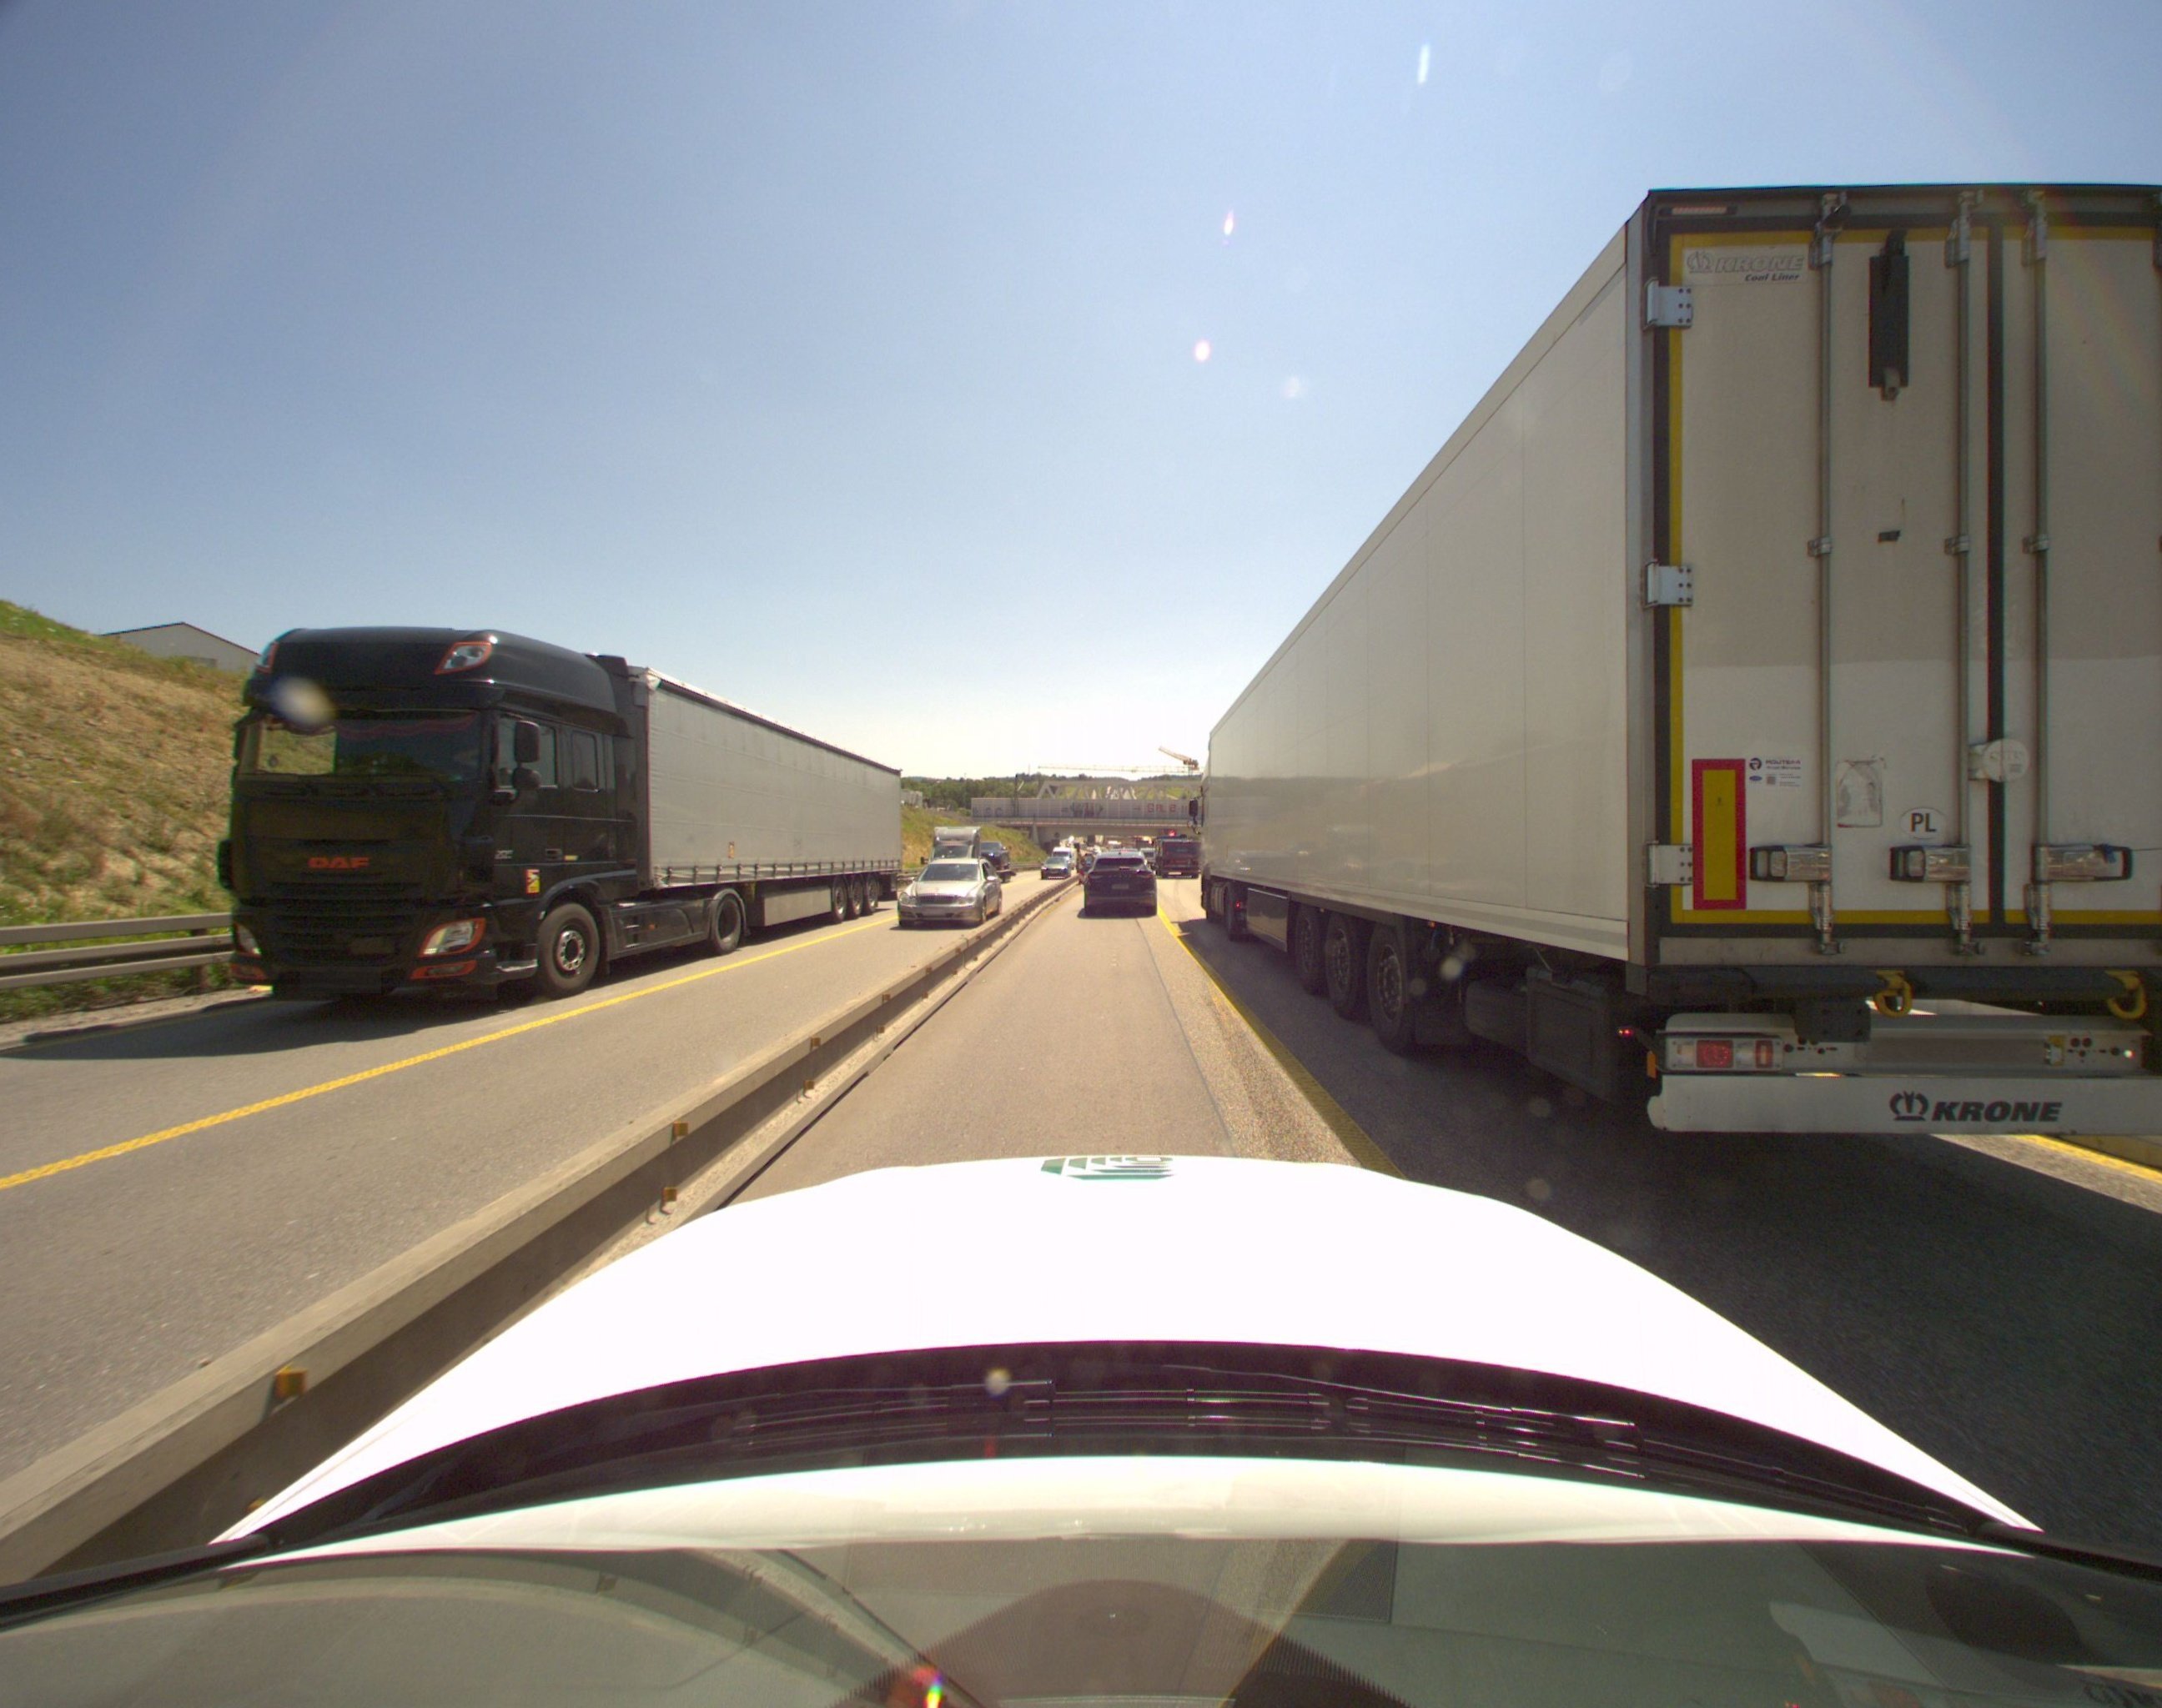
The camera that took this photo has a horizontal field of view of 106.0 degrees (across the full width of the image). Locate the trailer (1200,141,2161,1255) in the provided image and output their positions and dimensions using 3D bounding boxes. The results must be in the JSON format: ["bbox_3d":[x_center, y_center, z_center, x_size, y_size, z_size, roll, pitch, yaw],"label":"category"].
[{"bbox_3d":[3.642,-0.560,10.029,2.791,4.058,14.123,-1,0,2],"label":"trailer"}]

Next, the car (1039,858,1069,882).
[{"bbox_3d":[-1.754,1.025,53.808,1.659,1.428,4.003,-1,0,3],"label":"car"}]

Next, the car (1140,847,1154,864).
[{"bbox_3d":[9.467,0.227,116.853,1.656,2.269,3.796,1,0,0],"label":"car"}]

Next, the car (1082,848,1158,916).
[{"bbox_3d":[0.974,0.680,21.120,1.794,1.620,3.298,-1,0,2],"label":"car"}]

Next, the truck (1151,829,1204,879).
[{"bbox_3d":[6.669,-0.016,58.327,2.803,3.135,12.845,0,0,2],"label":"truck"}]

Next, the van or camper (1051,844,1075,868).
[{"bbox_3d":[-1.880,0.262,87.177,2.206,2.481,4.755,0,0,3],"label":"van or camper"}]

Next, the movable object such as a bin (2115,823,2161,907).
[{"bbox_3d":[38.877,0.388,24.877,2.876,2.909,9.485,0,0,2],"label":"movable object such as a bin"}]

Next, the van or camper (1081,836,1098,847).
[{"bbox_3d":[2.692,-4.121,261.661,3.942,3.419,8.381,0,0,-9],"label":"van or camper"}]

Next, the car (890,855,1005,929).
[{"bbox_3d":[-2.931,0.780,18.745,1.819,1.487,4.197,-1,0,2],"label":"car"}]

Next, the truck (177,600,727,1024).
[{"bbox_3d":[-6.860,-0.387,9.967,2.757,3.884,4.966,0,0,2],"label":"truck"}]

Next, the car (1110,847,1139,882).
[{"bbox_3d":[2.374,0.556,44.458,1.468,1.795,3.300,1,0,3],"label":"car"}]

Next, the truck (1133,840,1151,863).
[{"bbox_3d":[11.750,-0.467,157.439,3.163,4.318,9.264,-1,0,3],"label":"truck"}]

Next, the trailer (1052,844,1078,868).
[{"bbox_3d":[-1.668,0.238,90.688,2.206,2.481,8.535,0,0,4],"label":"trailer"}]

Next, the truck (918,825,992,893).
[{"bbox_3d":[-5.627,0.226,37.319,2.259,2.882,5.854,0,0,2],"label":"truck"}]

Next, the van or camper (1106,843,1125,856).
[{"bbox_3d":[9.516,-1.288,226.778,3.942,3.419,8.381,0,0,-9],"label":"van or camper"}]

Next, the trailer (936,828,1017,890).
[{"bbox_3d":[-5.364,0.250,44.441,2.259,2.882,13.048,0,0,2],"label":"trailer"}]

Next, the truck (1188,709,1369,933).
[{"bbox_3d":[3.913,-0.595,17.281,2.766,4.058,4.907,-1,0,2],"label":"truck"}]

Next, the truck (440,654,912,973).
[{"bbox_3d":[-6.639,-0.517,17.359,2.757,4.088,13.811,0,0,2],"label":"truck"}]
